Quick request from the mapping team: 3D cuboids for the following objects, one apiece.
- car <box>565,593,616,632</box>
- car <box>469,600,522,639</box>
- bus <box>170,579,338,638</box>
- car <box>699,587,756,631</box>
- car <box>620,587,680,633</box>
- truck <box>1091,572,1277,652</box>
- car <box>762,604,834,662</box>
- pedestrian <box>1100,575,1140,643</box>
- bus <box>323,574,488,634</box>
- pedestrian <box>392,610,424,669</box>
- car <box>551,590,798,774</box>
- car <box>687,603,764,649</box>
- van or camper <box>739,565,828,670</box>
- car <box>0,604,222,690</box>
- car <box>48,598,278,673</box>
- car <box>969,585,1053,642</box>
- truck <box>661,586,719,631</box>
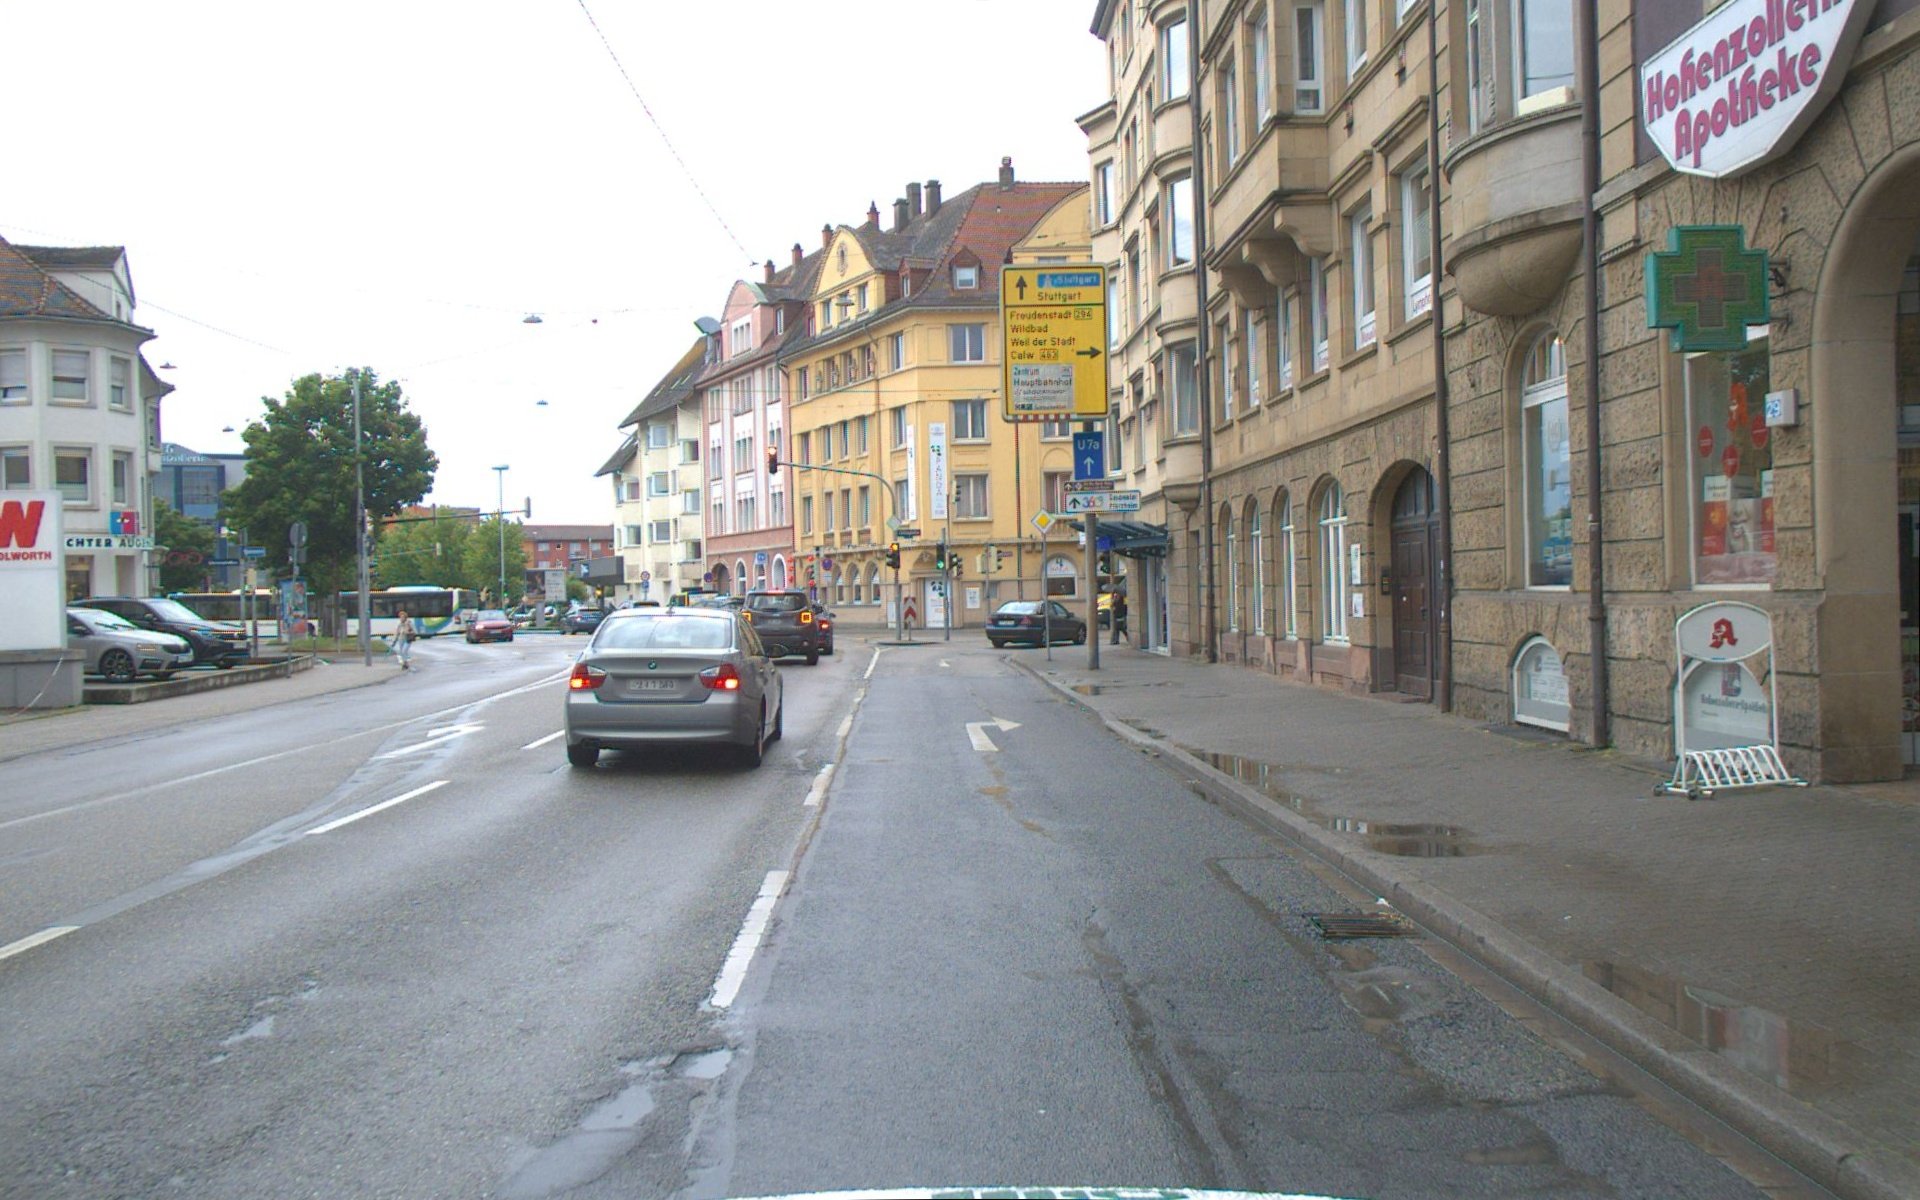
[{"bbox_3d":[-19.988,0.677,89.456,1.967,2.049,3.971,-2,0,-23],"label":"car"},{"bbox_3d":[-21.263,0.888,75.604,1.820,1.713,3.971,1,-1,-23],"label":"car"},{"bbox_3d":[-42.081,0.482,98.691,8.660,3.159,2.918,-2,0,1],"label":"bus"},{"bbox_3d":[-12.171,0.467,86.362,1.741,2.218,3.965,1,-1,-27],"label":"car"},{"bbox_3d":[-14.492,0.459,77.193,1.967,2.049,3.972,-2,0,-23],"label":"car"},{"bbox_3d":[8.791,0.459,65.146,6.949,2.901,2.082,-1,-1,-3],"label":"truck"},{"bbox_3d":[-4.271,0.861,43.964,1.768,1.430,4.679,-1,-1,-5],"label":"car"},{"bbox_3d":[4.667,0.260,48.261,1.035,1.937,1.025,-1,0,1],"label":"pedestrian"},{"bbox_3d":[-32.835,0.229,97.969,8.918,3.159,2.921,-2,0,11],"label":"bus"},{"bbox_3d":[-14.544,1.034,43.564,0.750,1.556,0.505,1,-1,-23],"label":"pedestrian"},{"bbox_3d":[-2.591,0.701,15.963,1.763,1.490,4.368,-1,-1,-2],"label":"car"},{"bbox_3d":[-10.073,1.126,70.855,1.972,1.847,3.961,-1,-1,-29],"label":"car"},{"bbox_3d":[-3.925,0.368,37.289,1.818,2.184,4.138,-1,0,-5],"label":"van or camper"},{"bbox_3d":[-17.221,0.911,32.708,4.359,1.553,1.884,-2,0,-6],"label":"car"},{"bbox_3d":[-18.215,0.799,37.903,4.324,1.532,1.955,-2,0,6],"label":"car"},{"bbox_3d":[1.478,0.415,49.533,1.766,1.590,3.991,-1,-1,-9],"label":"car"},{"bbox_3d":[-14.941,0.463,91.361,2.002,2.431,4.199,1,-1,-27],"label":"truck"}]
